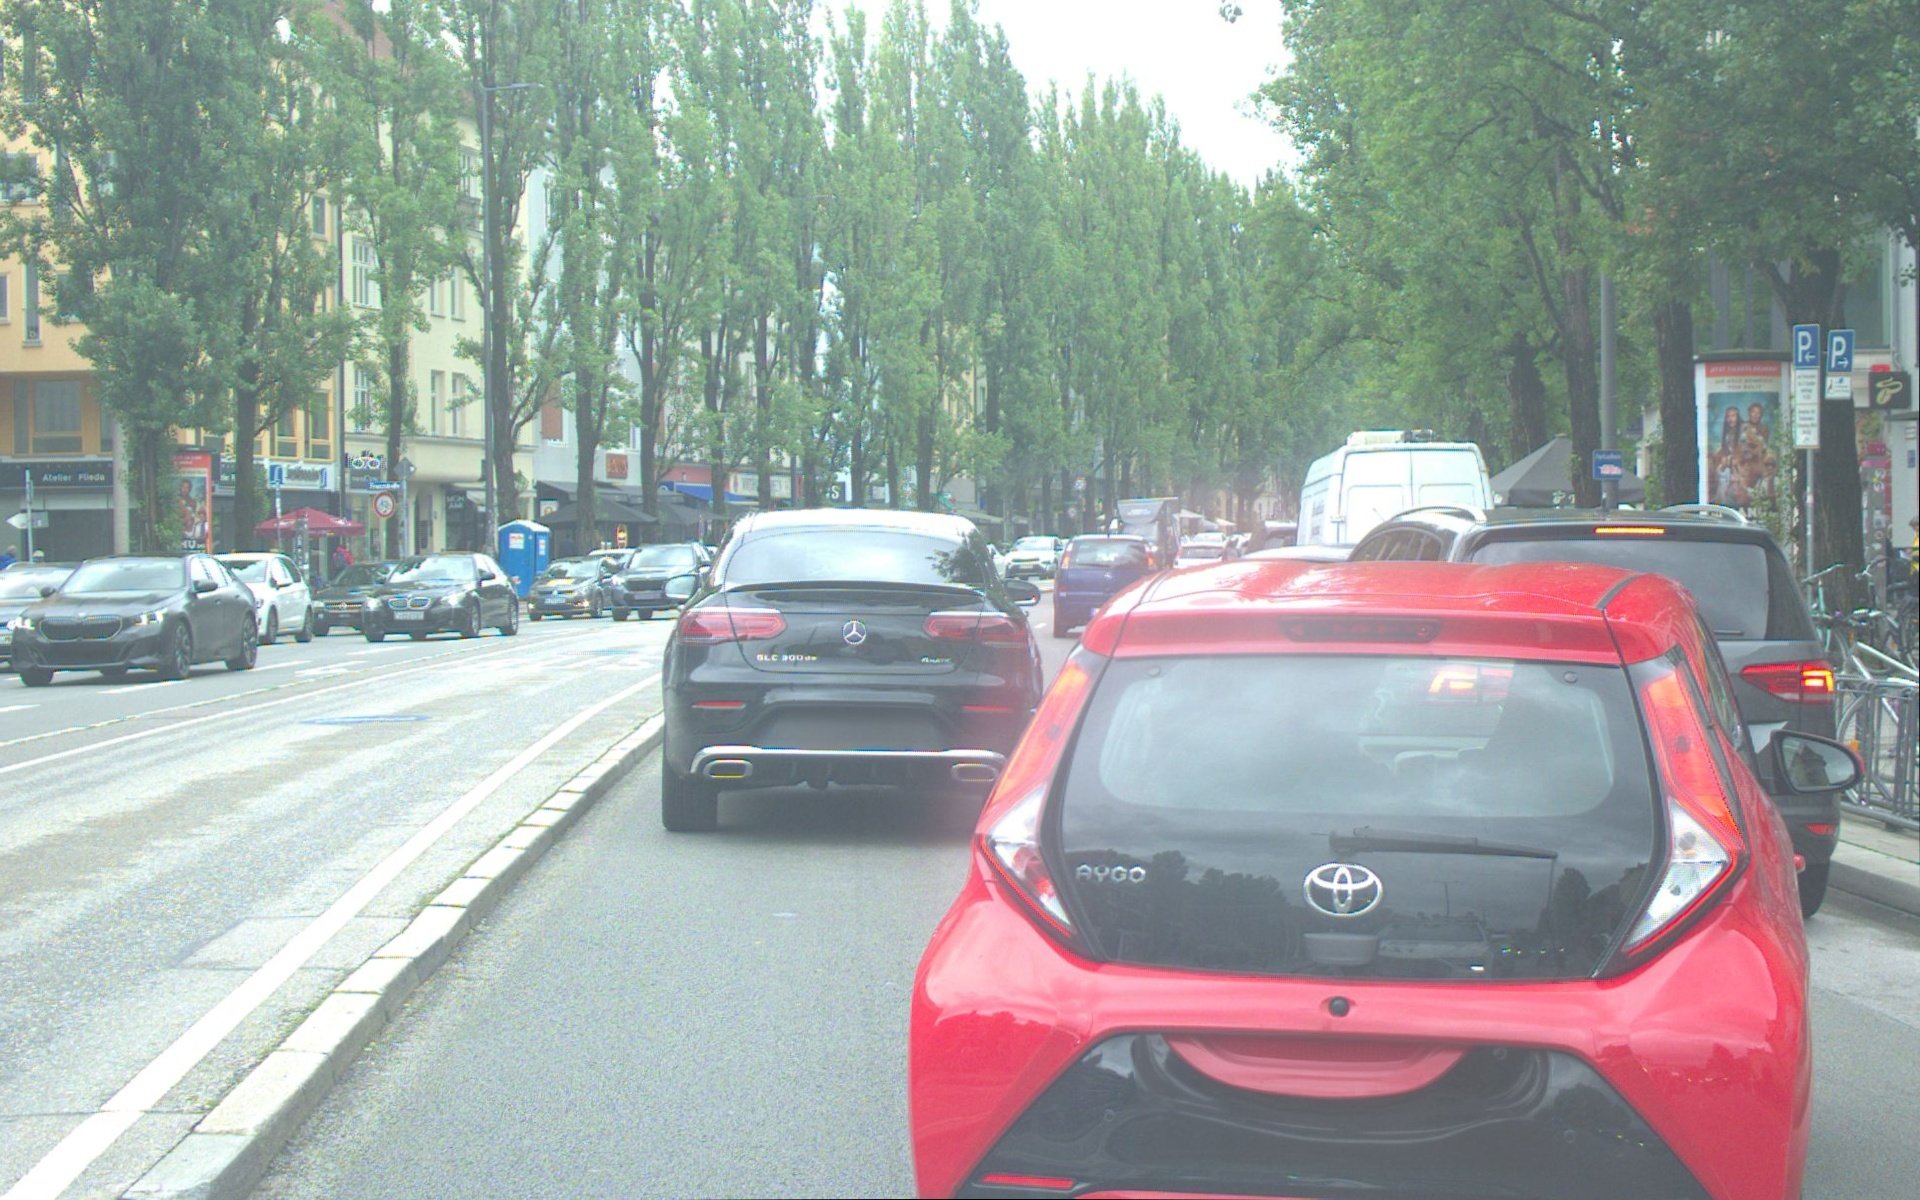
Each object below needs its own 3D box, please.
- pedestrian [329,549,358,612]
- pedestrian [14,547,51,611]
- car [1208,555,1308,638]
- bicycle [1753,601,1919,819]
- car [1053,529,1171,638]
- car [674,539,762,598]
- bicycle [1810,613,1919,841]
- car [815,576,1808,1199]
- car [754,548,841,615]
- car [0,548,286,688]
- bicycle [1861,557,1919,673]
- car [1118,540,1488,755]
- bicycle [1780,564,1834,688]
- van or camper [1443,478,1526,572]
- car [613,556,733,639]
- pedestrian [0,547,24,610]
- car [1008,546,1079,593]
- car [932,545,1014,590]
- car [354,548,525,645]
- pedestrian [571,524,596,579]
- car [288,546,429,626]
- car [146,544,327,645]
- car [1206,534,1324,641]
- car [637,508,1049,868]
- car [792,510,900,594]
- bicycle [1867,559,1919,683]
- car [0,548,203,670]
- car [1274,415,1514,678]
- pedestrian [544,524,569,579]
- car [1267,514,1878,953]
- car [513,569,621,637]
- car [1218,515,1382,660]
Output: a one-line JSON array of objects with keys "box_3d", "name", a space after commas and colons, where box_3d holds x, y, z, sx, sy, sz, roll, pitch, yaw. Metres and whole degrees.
[{"box_3d": [-17.087, -0.543, 95.332, 0.539, 1.741, 0.755, 0, 1, 11], "name": "pedestrian"}, {"box_3d": [-21.253, -0.487, 78.783, 0.632, 1.430, 0.778, -1, 1, -2], "name": "pedestrian"}, {"box_3d": [6.417, -0.084, 73.704, 1.925, 1.694, 4.649, 1, 0, 7], "name": "car"}, {"box_3d": [4.973, 0.581, 17.740, 1.574, 1.050, 0.545, 5, 3, 37], "name": "bicycle"}, {"box_3d": [2.359, -0.266, 53.738, 1.759, 1.614, 3.747, 1, 0, 2], "name": "car"}, {"box_3d": [-6.730, -0.897, 96.113, 1.953, 1.584, 4.000, -1, 1, 3], "name": "car"}, {"box_3d": [5.047, 0.650, 16.397, 1.800, 1.050, 0.545, 5, 3, 37], "name": "bicycle"}, {"box_3d": [0.983, 0.683, 7.545, 1.666, 1.441, 3.594, 1, 0, 14], "name": "car"}, {"box_3d": [-4.096, -0.491, 87.332, 1.817, 1.540, 4.000, -3, 1, 2], "name": "car"}, {"box_3d": [-9.723, 0.163, 41.247, 1.994, 1.502, 5.021, -1, 1, 3], "name": "car"}, {"box_3d": [10.021, 0.149, 34.959, 1.629, 1.156, 0.705, 0, 1, 12], "name": "bicycle"}, {"box_3d": [2.599, 0.316, 25.404, 1.547, 1.455, 3.429, 1, 0, 27], "name": "car"}, {"box_3d": [8.268, 0.234, 33.530, 0.478, 1.156, 1.824, 0, 1, 15], "name": "bicycle"}, {"box_3d": [18.112, -2.576, 118.493, 2.461, 3.101, 4.713, -1, 1, 12], "name": "van or camper"}, {"box_3d": [-6.070, -0.072, 73.147, 1.993, 1.615, 4.413, -2, 1, 2], "name": "car"}, {"box_3d": [-21.871, -0.495, 78.749, 0.632, 1.430, 0.778, -1, 1, -2], "name": "pedestrian"}, {"box_3d": [3.033, -1.125, 123.837, 1.910, 1.597, 4.353, -1, 1, 10], "name": "car"}, {"box_3d": [0.444, -1.094, 112.971, 1.800, 1.389, 4.688, -1, 1, 11], "name": "car"}, {"box_3d": [-8.628, -0.090, 57.368, 1.836, 1.482, 4.734, -1, 1, 3], "name": "car"}, {"box_3d": [-12.791, -1.639, 116.855, 0.638, 1.855, 0.647, -1, 1, 11], "name": "pedestrian"}, {"box_3d": [-11.388, -0.289, 65.401, 1.729, 1.404, 4.688, -1, 1, 1], "name": "car"}, {"box_3d": [-12.073, -0.123, 57.644, 1.993, 1.594, 4.289, -1, 1, 2], "name": "car"}, {"box_3d": [5.017, -0.240, 56.993, 1.727, 1.680, 4.408, 0, 1, 2], "name": "car"}, {"box_3d": [-0.566, 0.365, 18.215, 1.880, 1.636, 4.583, -1, 1, -1], "name": "car"}, {"box_3d": [-3.602, -1.553, 109.747, 2.171, 2.596, 6.062, -1, 1, 10], "name": "car"}, {"box_3d": [9.313, 0.189, 33.517, 0.477, 1.156, 1.633, 0, 1, -1], "name": "bicycle"}, {"box_3d": [-12.142, 0.094, 47.449, 1.959, 1.541, 4.947, -1, 1, 4], "name": "car"}, {"box_3d": [4.806, -0.589, 38.845, 1.993, 2.732, 5.555, 1, 0, 0], "name": "car"}, {"box_3d": [-13.710, -1.648, 116.877, 0.638, 1.855, 0.647, -1, 1, 11], "name": "pedestrian"}, {"box_3d": [2.441, 0.454, 14.731, 1.761, 1.608, 4.184, 0, 1, -1], "name": "car"}, {"box_3d": [-9.158, 0.059, 80.455, 1.784, 1.461, 4.000, -1, 1, 4], "name": "car"}, {"box_3d": [4.455, -0.201, 45.593, 1.929, 1.799, 4.779, 1, 1, 3], "name": "car"}]
